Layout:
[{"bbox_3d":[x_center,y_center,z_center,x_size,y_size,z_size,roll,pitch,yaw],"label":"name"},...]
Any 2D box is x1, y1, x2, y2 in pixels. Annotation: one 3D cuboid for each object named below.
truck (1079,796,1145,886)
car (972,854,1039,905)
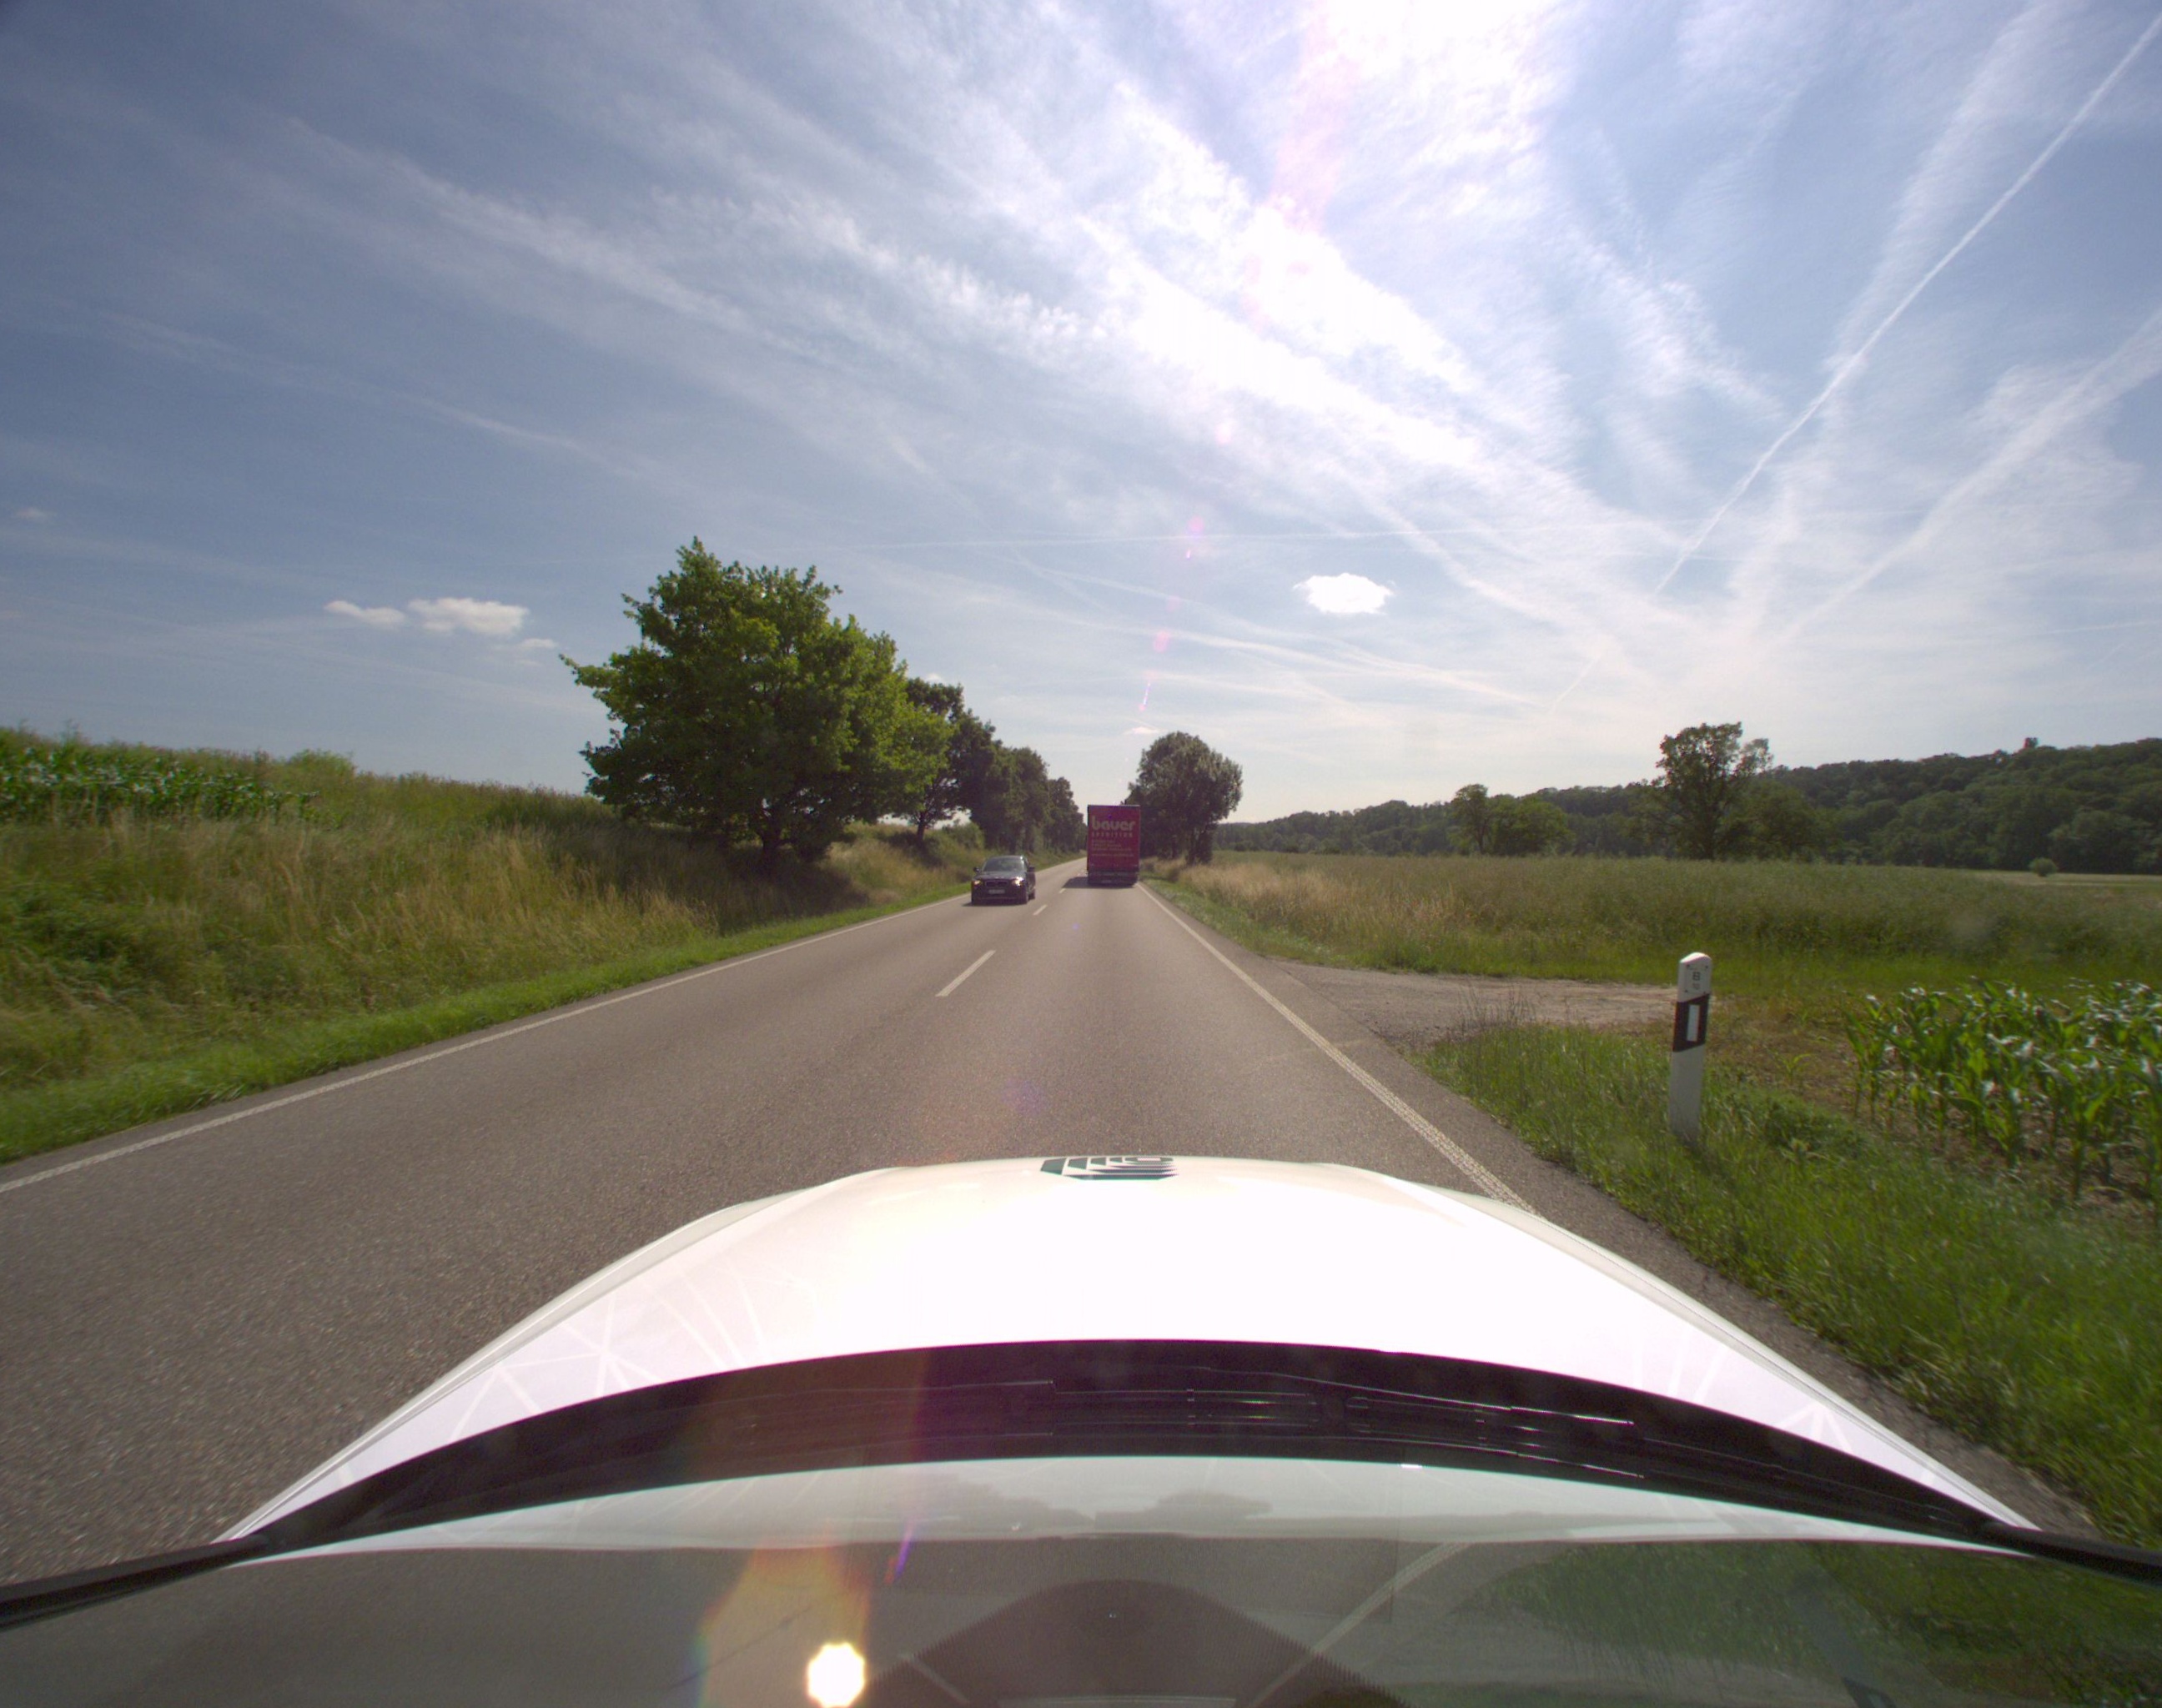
[{"bbox_3d":[1.550,-0.584,43.025,3.083,4.263,8.315,1,0,1],"label":"truck"},{"bbox_3d":[-2.412,0.777,26.970,1.650,1.534,4.360,-1,0,2],"label":"car"}]
